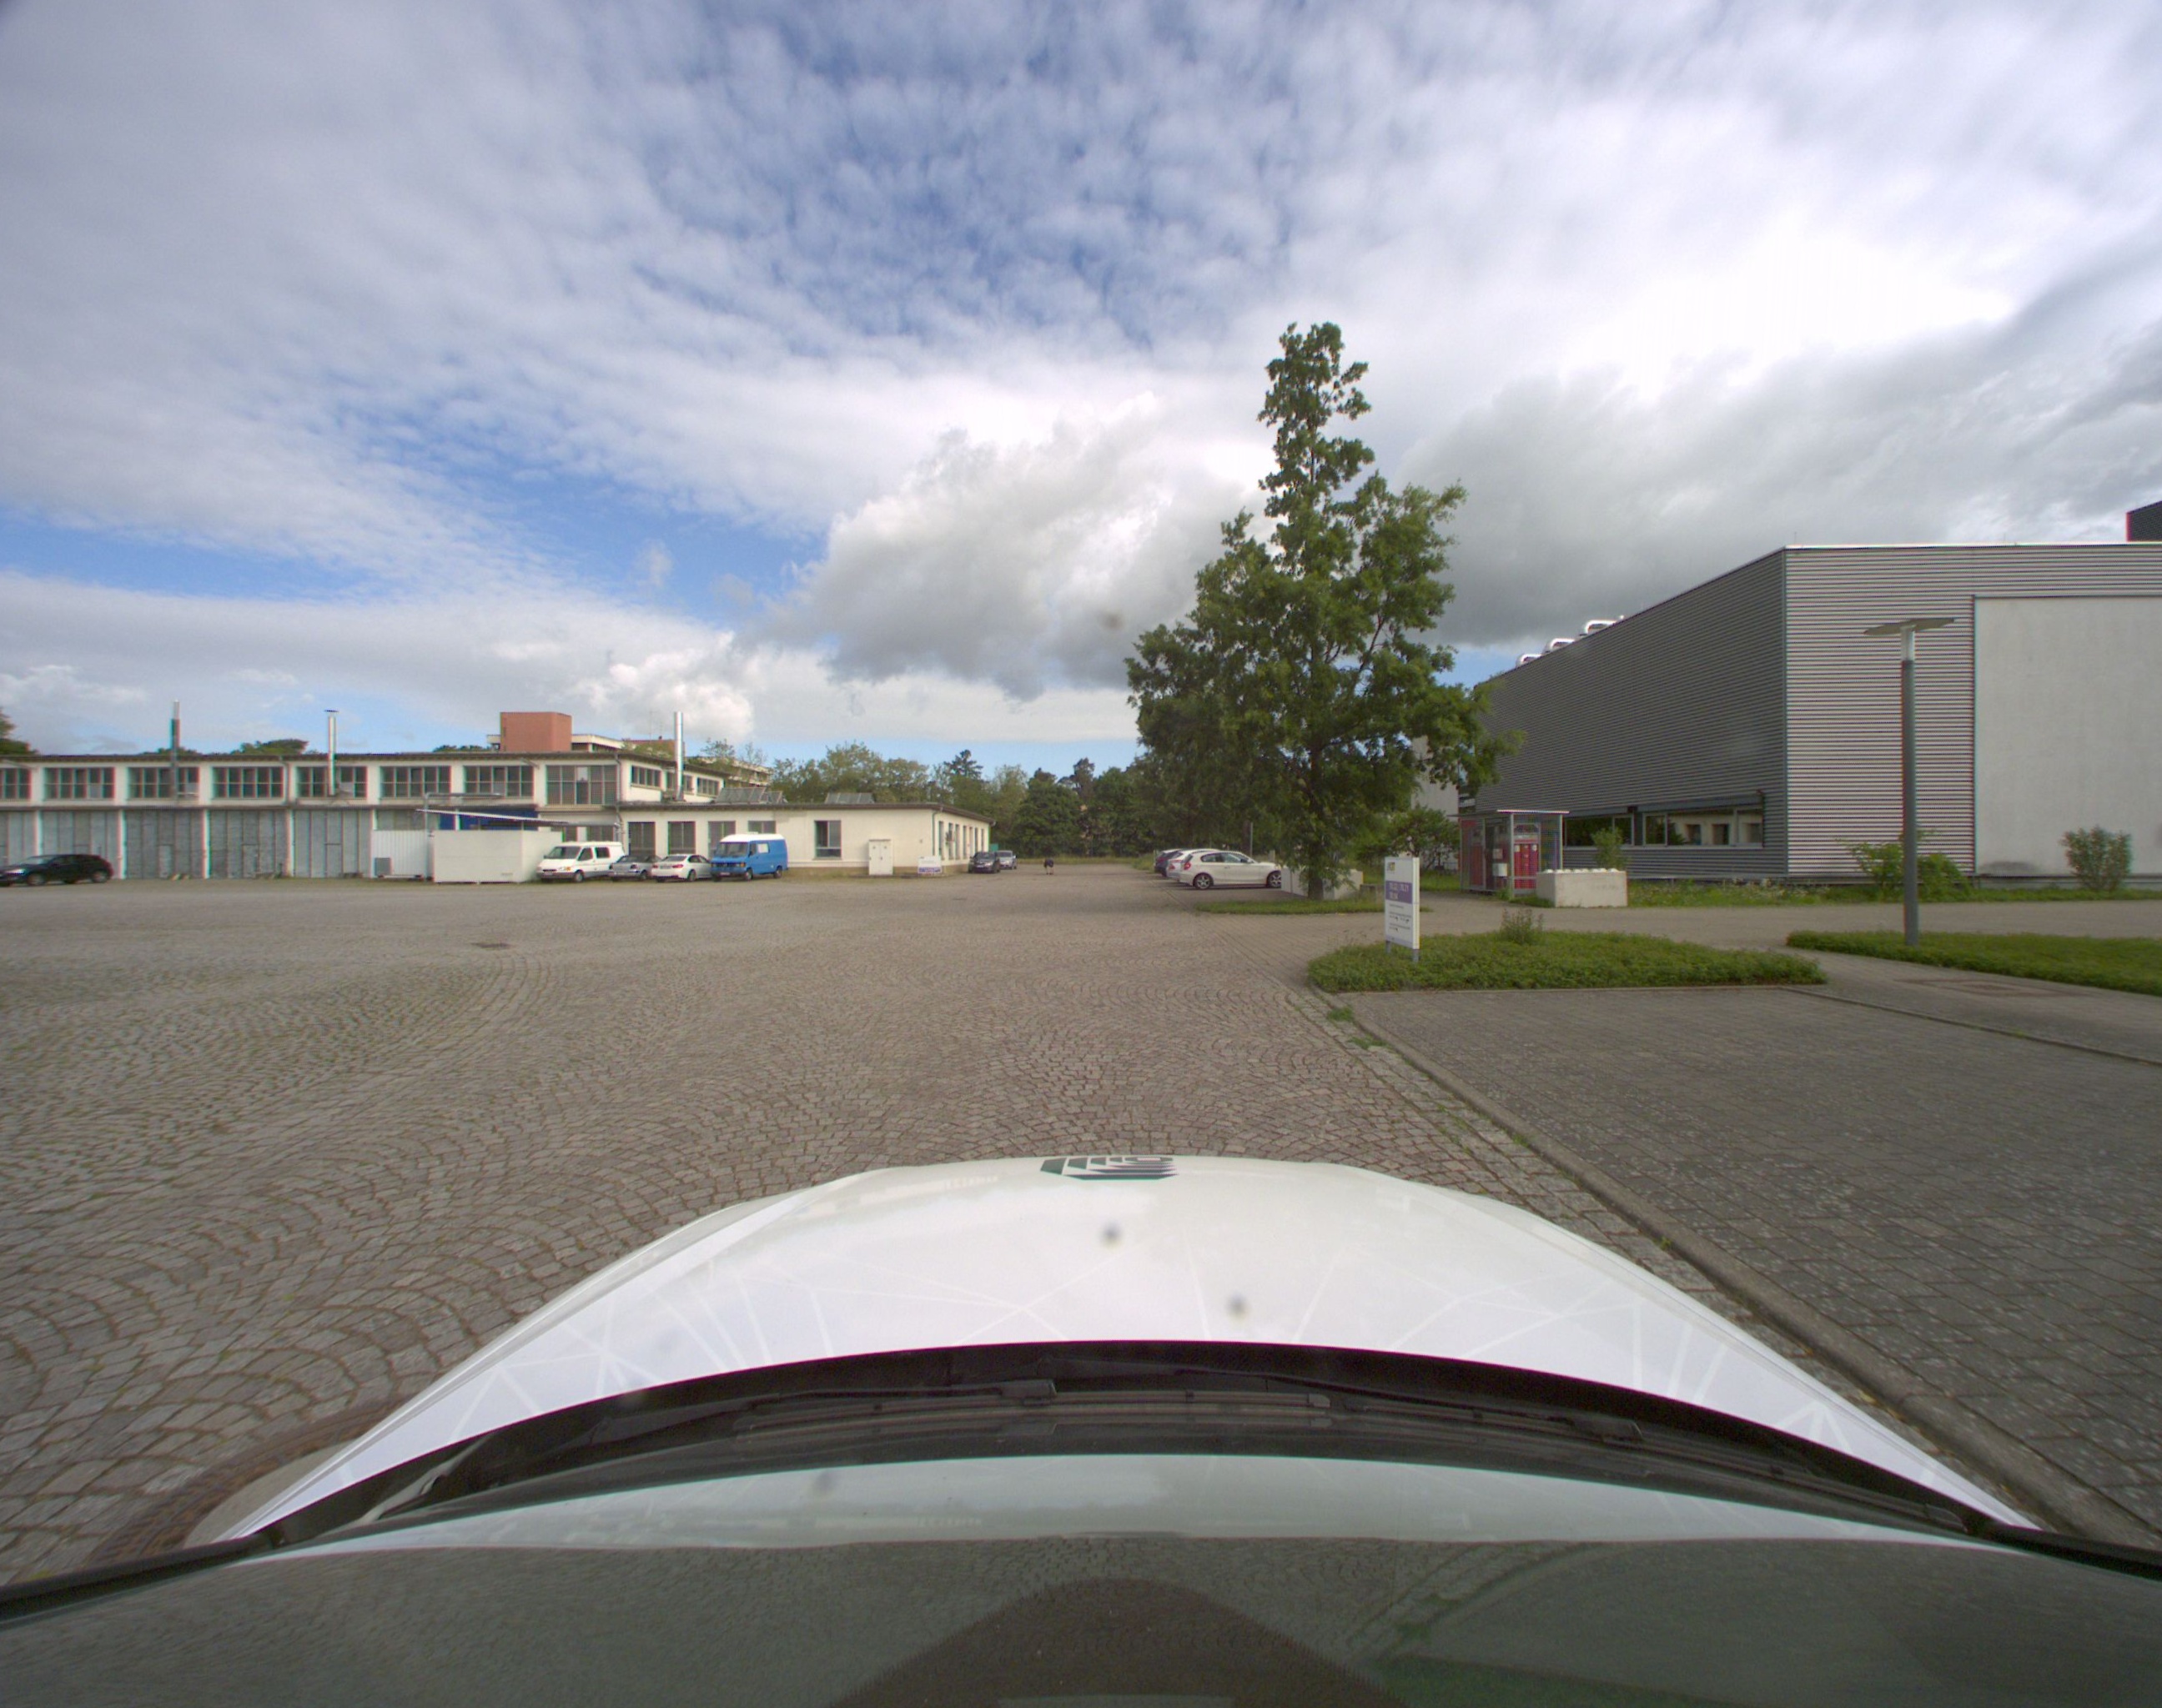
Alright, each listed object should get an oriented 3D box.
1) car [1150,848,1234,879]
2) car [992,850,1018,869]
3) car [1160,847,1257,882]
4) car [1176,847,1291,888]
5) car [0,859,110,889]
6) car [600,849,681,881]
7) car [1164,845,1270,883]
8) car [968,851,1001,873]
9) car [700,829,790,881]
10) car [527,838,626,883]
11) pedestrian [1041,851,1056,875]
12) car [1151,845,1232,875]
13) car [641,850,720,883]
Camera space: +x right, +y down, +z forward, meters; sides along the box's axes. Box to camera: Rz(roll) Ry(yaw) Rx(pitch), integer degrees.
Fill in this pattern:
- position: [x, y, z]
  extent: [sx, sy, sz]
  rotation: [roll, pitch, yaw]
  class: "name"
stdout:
- position: [5.463, 0.445, 40.437]
  extent: [3.972, 1.455, 1.770]
  rotation: [-1, 0, 1]
  class: "car"
- position: [-6.015, 0.394, 64.645]
  extent: [1.744, 1.454, 3.999]
  rotation: [-1, 0, -1]
  class: "car"
- position: [5.500, 0.458, 35.530]
  extent: [3.972, 1.455, 1.770]
  rotation: [-1, 0, 1]
  class: "car"
- position: [5.587, 0.482, 30.317]
  extent: [3.972, 1.455, 2.001]
  rotation: [0, -1, 1]
  class: "car"
- position: [-53.343, 0.998, 42.148]
  extent: [1.659, 1.410, 3.725]
  rotation: [-1, 0, 2]
  class: "car"
- position: [-23.133, 0.561, 42.913]
  extent: [1.893, 1.575, 4.003]
  rotation: [-1, 0, 3]
  class: "car"
- position: [5.354, 0.393, 32.491]
  extent: [3.972, 1.455, 1.698]
  rotation: [-1, 0, 1]
  class: "car"
- position: [-6.428, 0.518, 54.512]
  extent: [1.744, 1.364, 3.999]
  rotation: [-1, 0, -1]
  class: "car"
- position: [-17.627, 0.052, 43.025]
  extent: [1.984, 2.523, 5.625]
  rotation: [-1, 0, 5]
  class: "car"
- position: [-26.155, 0.322, 42.483]
  extent: [1.892, 2.206, 4.788]
  rotation: [-1, 0, 4]
  class: "car"
- position: [-2.202, 0.579, 54.770]
  extent: [0.936, 1.568, 0.971]
  rotation: [-1, 0, 1]
  class: "pedestrian"
- position: [5.880, 0.307, 43.647]
  extent: [3.977, 1.533, 1.998]
  rotation: [-1, 0, -3]
  class: "car"
- position: [-20.504, 0.610, 41.887]
  extent: [1.893, 1.575, 4.003]
  rotation: [-1, 0, 3]
  class: "car"
